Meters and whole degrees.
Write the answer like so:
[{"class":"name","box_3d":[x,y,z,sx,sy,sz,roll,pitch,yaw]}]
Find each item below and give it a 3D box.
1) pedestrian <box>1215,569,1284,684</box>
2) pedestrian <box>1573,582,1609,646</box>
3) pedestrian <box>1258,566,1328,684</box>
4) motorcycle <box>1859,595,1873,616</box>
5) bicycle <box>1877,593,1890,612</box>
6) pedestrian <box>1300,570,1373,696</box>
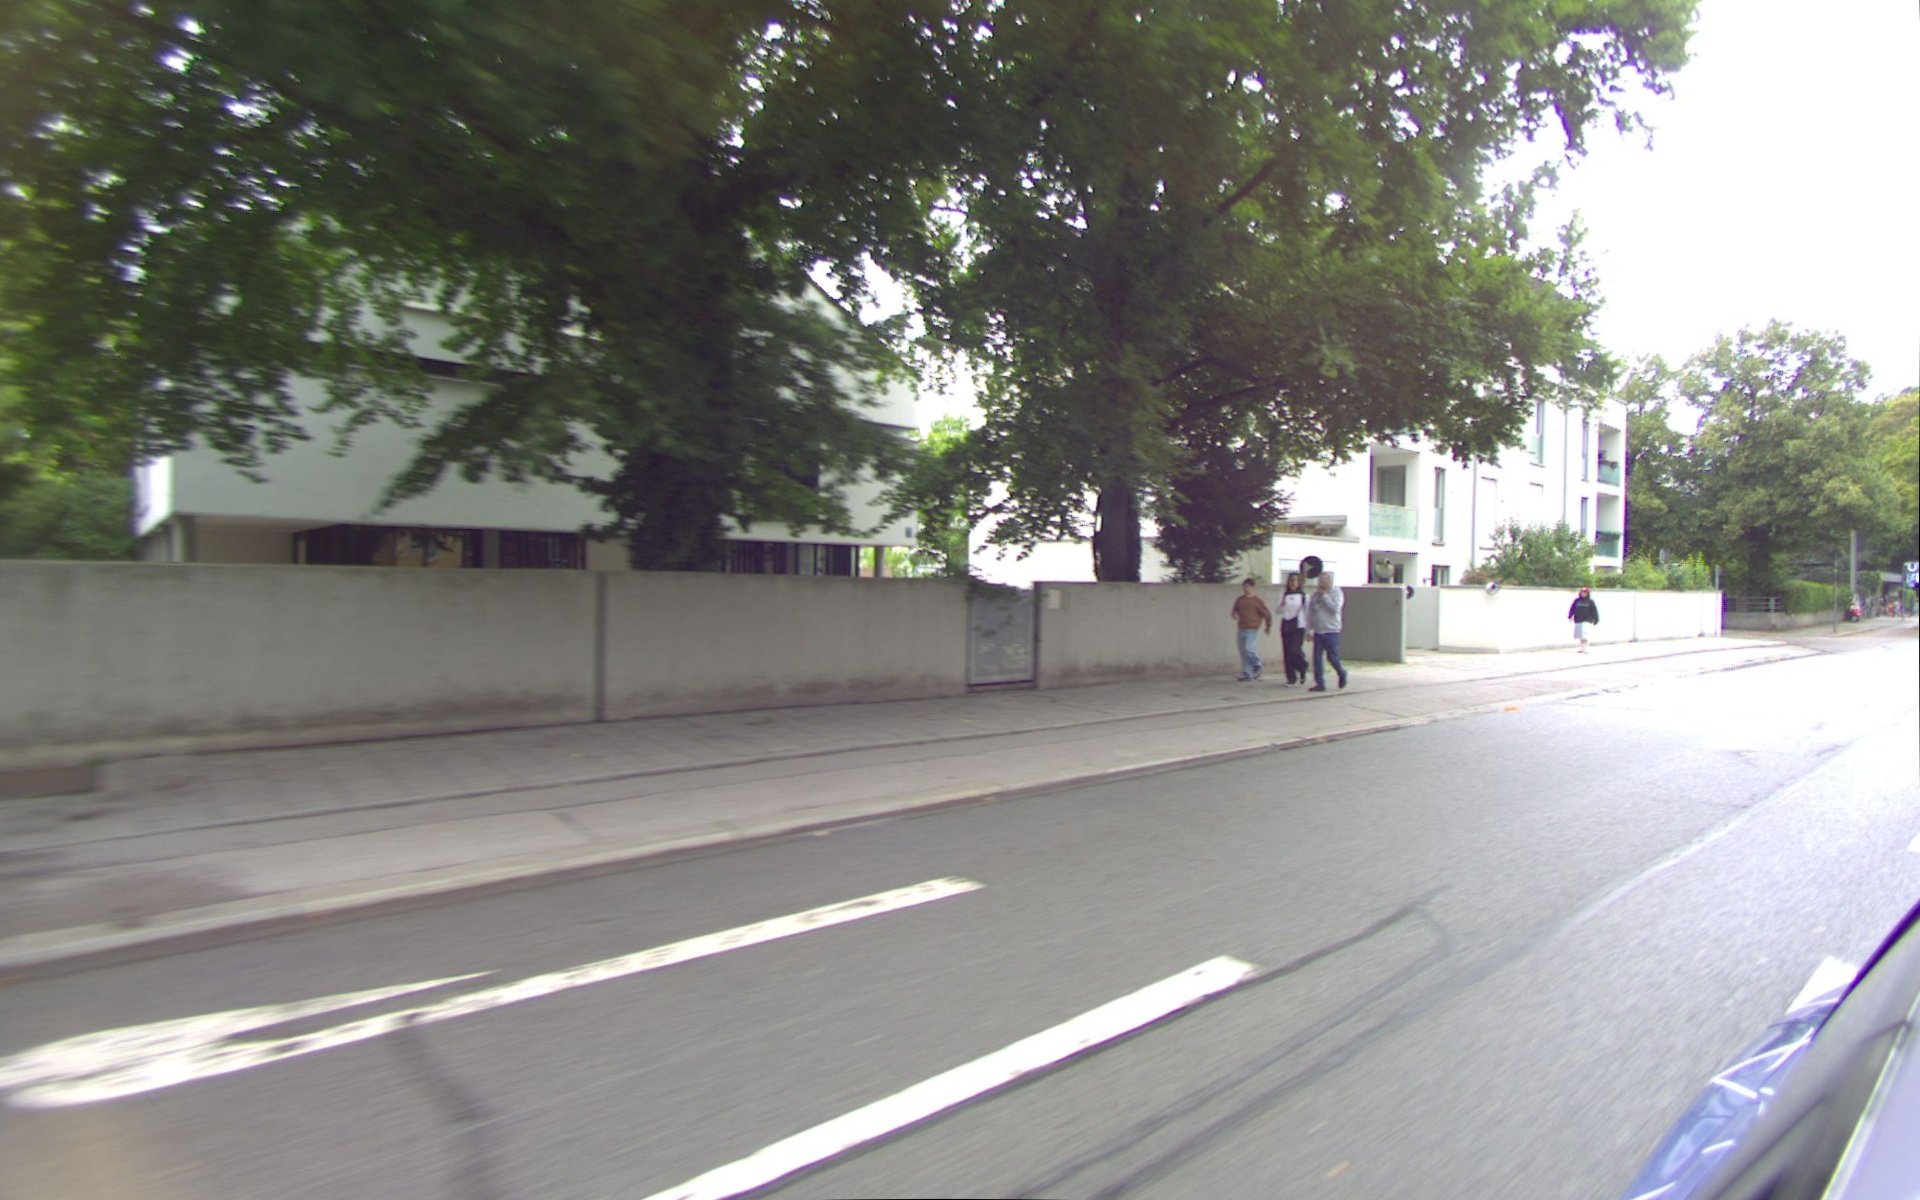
[{"class":"pedestrian","box_3d":[4.527,0.388,15.838,0.753,1.726,0.667,0,3,-42]},{"class":"pedestrian","box_3d":[16.060,0.348,25.764,0.716,1.600,0.529,0,3,-42]},{"class":"pedestrian","box_3d":[5.050,0.356,15.344,0.716,1.713,0.667,0,3,-42]},{"class":"motorcycle","box_3d":[52.289,0.322,58.385,0.494,1.156,1.610,1,1,38]},{"class":"bicycle","box_3d":[57.797,0.153,63.328,0.488,1.113,1.610,1,1,38]},{"class":"pedestrian","box_3d":[5.481,0.454,14.728,0.716,1.743,0.667,0,3,-42]}]
